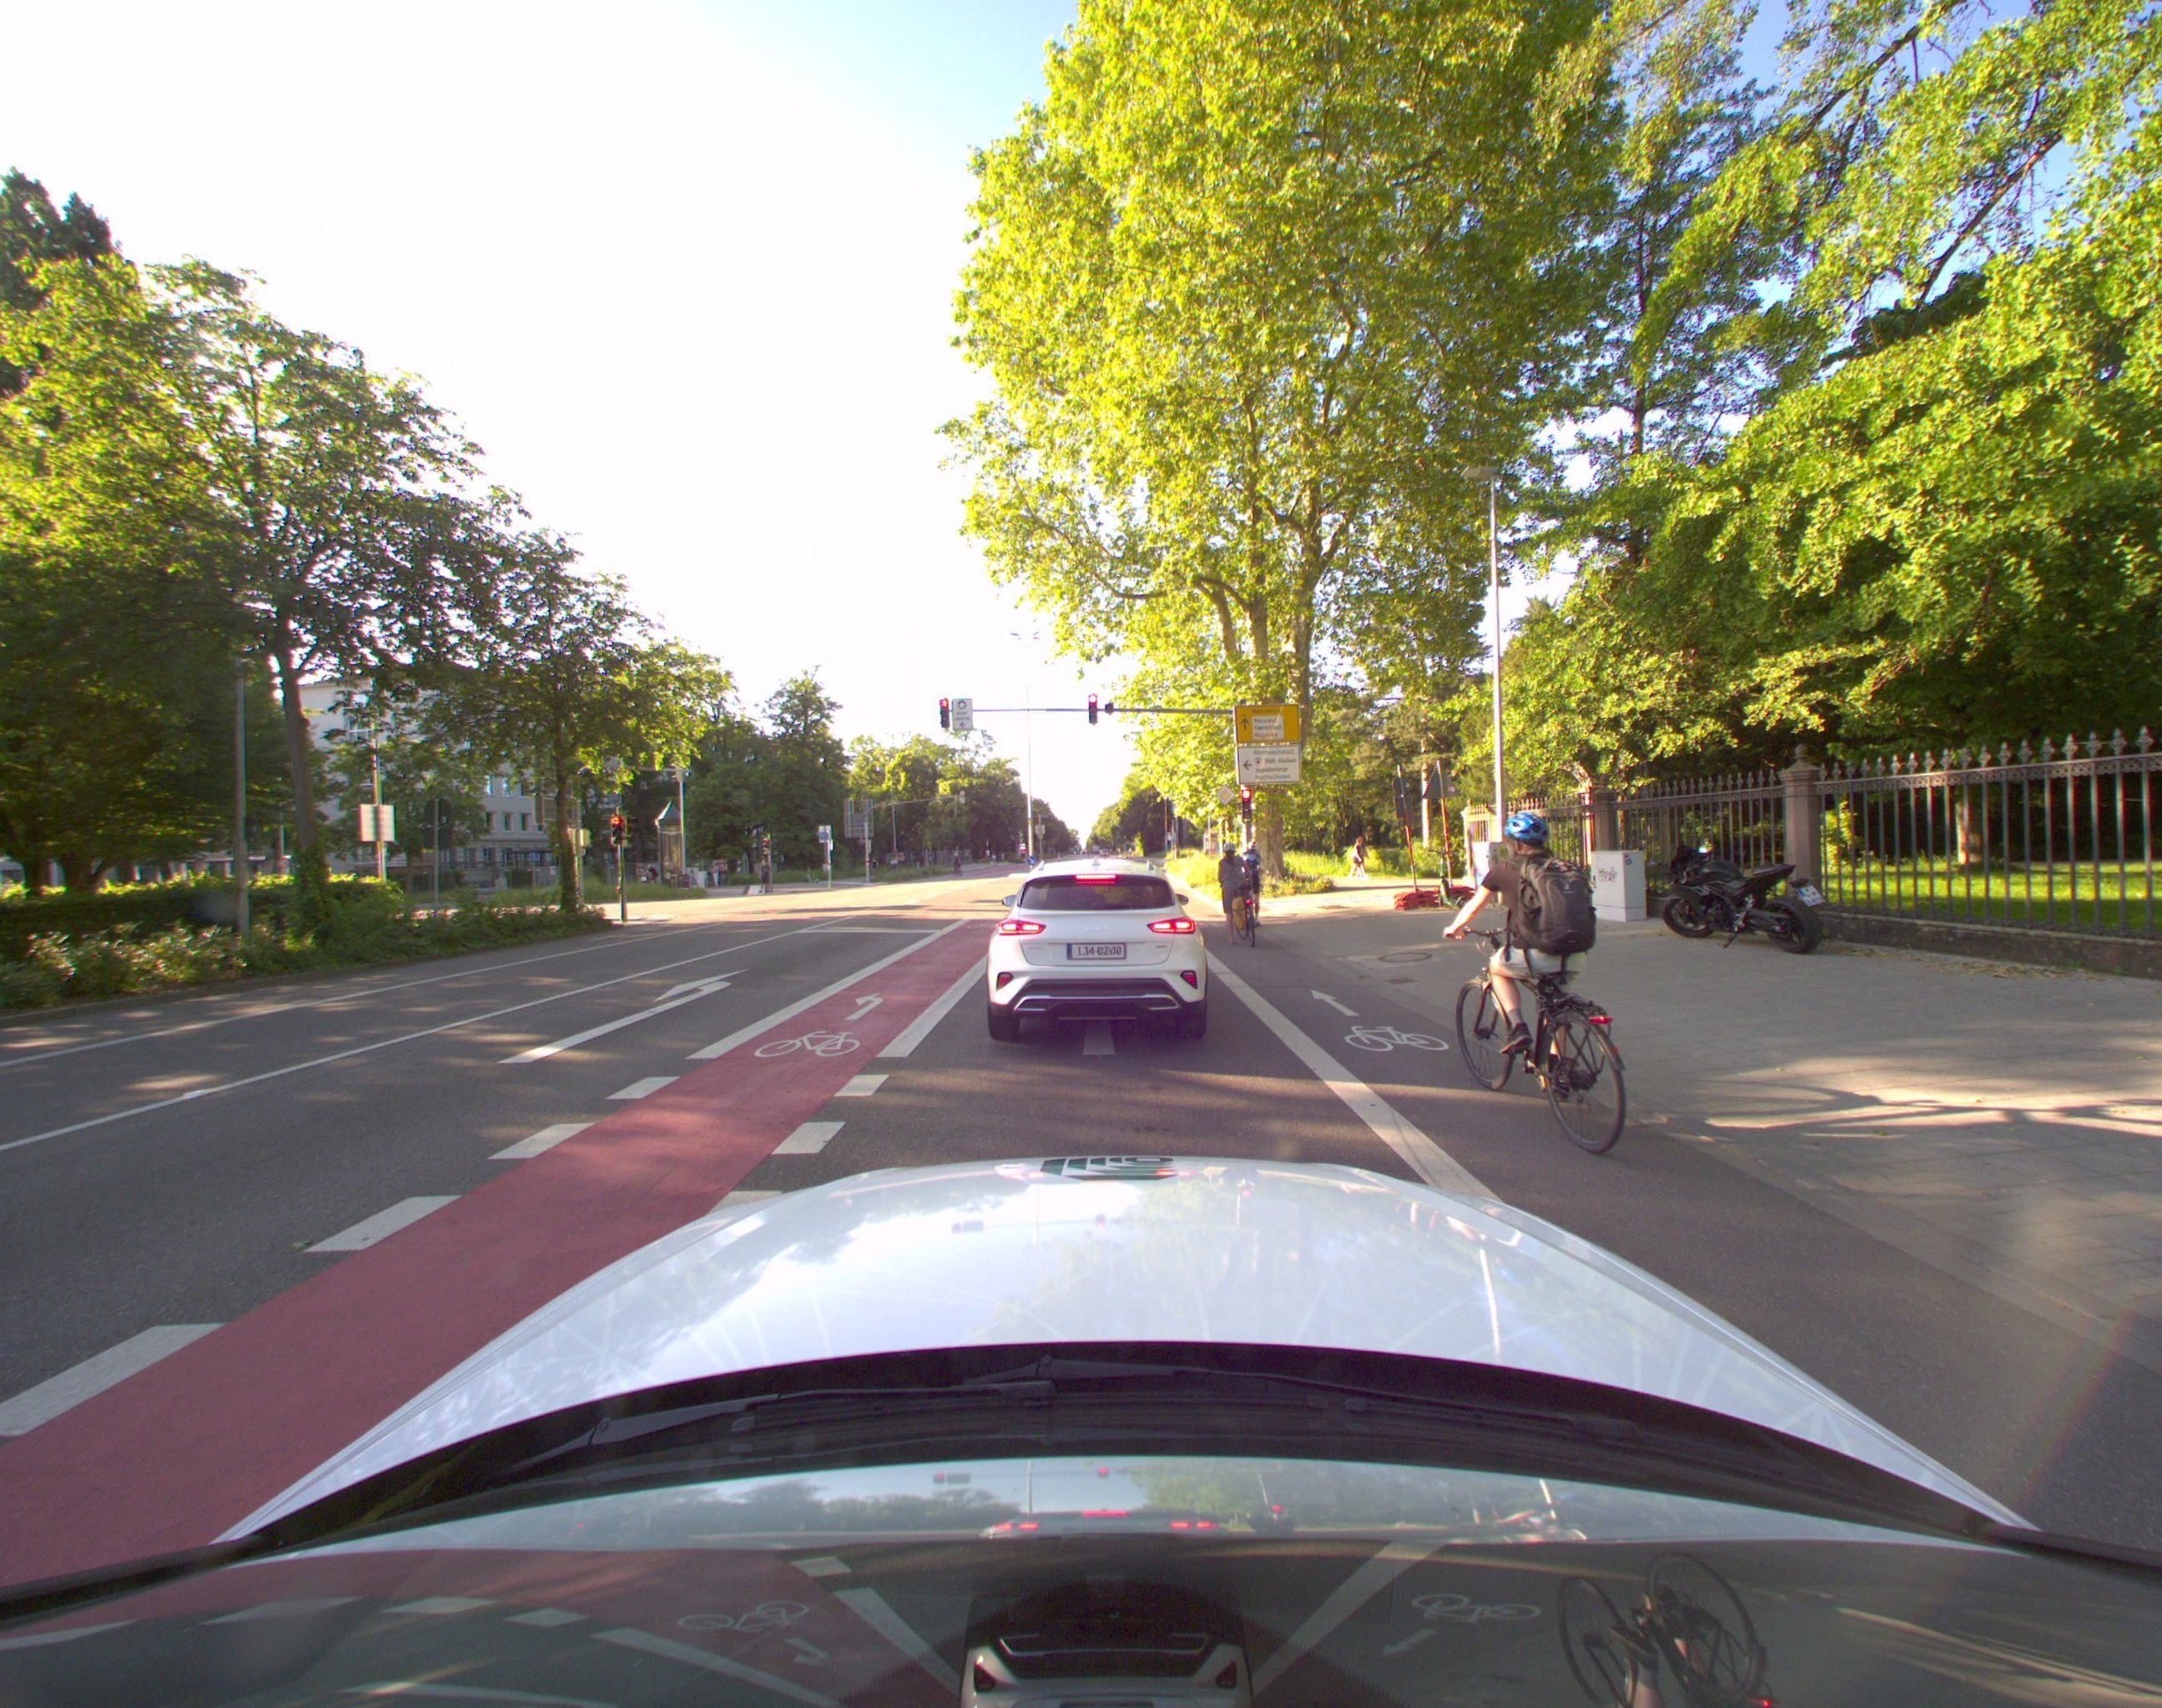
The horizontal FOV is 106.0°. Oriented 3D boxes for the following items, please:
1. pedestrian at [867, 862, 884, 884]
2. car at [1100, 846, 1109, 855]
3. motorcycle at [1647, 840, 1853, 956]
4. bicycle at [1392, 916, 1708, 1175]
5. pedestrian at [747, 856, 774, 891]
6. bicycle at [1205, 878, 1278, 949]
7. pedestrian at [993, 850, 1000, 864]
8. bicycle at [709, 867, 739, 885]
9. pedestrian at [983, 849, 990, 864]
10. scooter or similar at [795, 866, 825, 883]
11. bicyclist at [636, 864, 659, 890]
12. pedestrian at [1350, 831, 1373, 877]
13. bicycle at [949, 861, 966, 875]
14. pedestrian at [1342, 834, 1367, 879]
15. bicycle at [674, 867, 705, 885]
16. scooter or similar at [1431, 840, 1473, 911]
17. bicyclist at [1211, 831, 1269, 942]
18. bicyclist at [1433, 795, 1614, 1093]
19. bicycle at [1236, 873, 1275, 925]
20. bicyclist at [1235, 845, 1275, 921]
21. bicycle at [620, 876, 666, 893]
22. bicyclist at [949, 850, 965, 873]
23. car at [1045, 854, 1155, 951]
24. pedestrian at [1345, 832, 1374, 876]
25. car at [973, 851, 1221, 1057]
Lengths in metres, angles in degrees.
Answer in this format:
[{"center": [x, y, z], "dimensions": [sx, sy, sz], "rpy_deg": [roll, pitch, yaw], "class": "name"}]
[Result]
[{"center": [-16.363, 1.503, 64.801], "dimensions": [1.086, 1.603, 0.999], "rpy_deg": [-3, 0, -5], "class": "pedestrian"}, {"center": [5.197, -0.801, 178.611], "dimensions": [1.986, 2.013, 4.002], "rpy_deg": [-3, 0, 2], "class": "car"}, {"center": [7.454, 0.450, 9.242], "dimensions": [0.504, 1.131, 2.170], "rpy_deg": [-4, 0, 0], "class": "motorcycle"}, {"center": [2.547, 0.957, 4.775], "dimensions": [0.666, 1.009, 2.081], "rpy_deg": [-1, 0, 0], "class": "bicycle"}, {"center": [-18.830, 1.155, 47.847], "dimensions": [0.990, 2.014, 1.193], "rpy_deg": [-1, -1, 7], "class": "pedestrian"}, {"center": [2.657, 0.952, 13.803], "dimensions": [0.755, 1.013, 2.569], "rpy_deg": [0, 0, 0], "class": "bicycle"}, {"center": [-11.051, 0.446, 105.935], "dimensions": [0.782, 1.785, 0.751], "rpy_deg": [-1, -1, 2], "class": "pedestrian"}, {"center": [-24.000, 1.466, 54.758], "dimensions": [1.859, 1.148, 0.290], "rpy_deg": [-1, -1, -6], "class": "bicycle"}, {"center": [-12.246, 0.306, 105.386], "dimensions": [0.637, 2.014, 0.756], "rpy_deg": [-1, -1, 13], "class": "pedestrian"}, {"center": [-18.866, 1.413, 56.728], "dimensions": [0.703, 1.124, 1.933], "rpy_deg": [-1, 0, 34], "class": "scooter or similar"}, {"center": [-28.358, 1.484, 53.259], "dimensions": [0.970, 1.606, 0.878], "rpy_deg": [-3, 0, 2], "class": "bicyclist"}, {"center": [11.216, -0.007, 32.588], "dimensions": [0.615, 1.771, 0.645], "rpy_deg": [-3, 0, -5], "class": "pedestrian"}, {"center": [-9.304, 1.057, 61.326], "dimensions": [0.660, 0.989, 2.507], "rpy_deg": [-3, 0, 4], "class": "bicycle"}, {"center": [10.736, 0.102, 31.969], "dimensions": [0.688, 1.699, 0.643], "rpy_deg": [-3, 0, -5], "class": "pedestrian"}, {"center": [-26.457, 1.477, 55.015], "dimensions": [1.854, 1.148, 0.443], "rpy_deg": [-1, -1, 2], "class": "bicycle"}, {"center": [7.193, 0.402, 15.804], "dimensions": [0.227, 1.327, 1.172], "rpy_deg": [-3, 0, 0], "class": "scooter or similar"}, {"center": [2.653, 0.519, 13.673], "dimensions": [0.750, 1.795, 1.165], "rpy_deg": [0, 0, 0], "class": "bicyclist"}, {"center": [2.545, 0.485, 4.759], "dimensions": [0.663, 1.602, 0.721], "rpy_deg": [-1, 0, 0], "class": "bicyclist"}, {"center": [3.567, 0.895, 16.720], "dimensions": [0.400, 0.956, 1.551], "rpy_deg": [-5, 0, 0], "class": "bicycle"}, {"center": [3.542, 0.585, 16.658], "dimensions": [0.552, 1.478, 0.717], "rpy_deg": [-5, -1, 0], "class": "bicyclist"}, {"center": [-28.624, 1.998, 53.269], "dimensions": [2.695, 0.989, 0.581], "rpy_deg": [-3, 0, 2], "class": "bicycle"}, {"center": [-9.340, 0.562, 61.136], "dimensions": [0.871, 1.608, 1.189], "rpy_deg": [-3, 0, 4], "class": "bicyclist"}, {"center": [0.321, 0.785, 15.028], "dimensions": [1.723, 1.483, 3.516], "rpy_deg": [-3, 0, 0], "class": "car"}, {"center": [11.380, -0.005, 33.304], "dimensions": [0.816, 1.771, 0.831], "rpy_deg": [-3, 0, -5], "class": "pedestrian"}, {"center": [0.140, 0.741, 8.043], "dimensions": [1.815, 1.480, 3.936], "rpy_deg": [-1, 0, 0], "class": "car"}]
